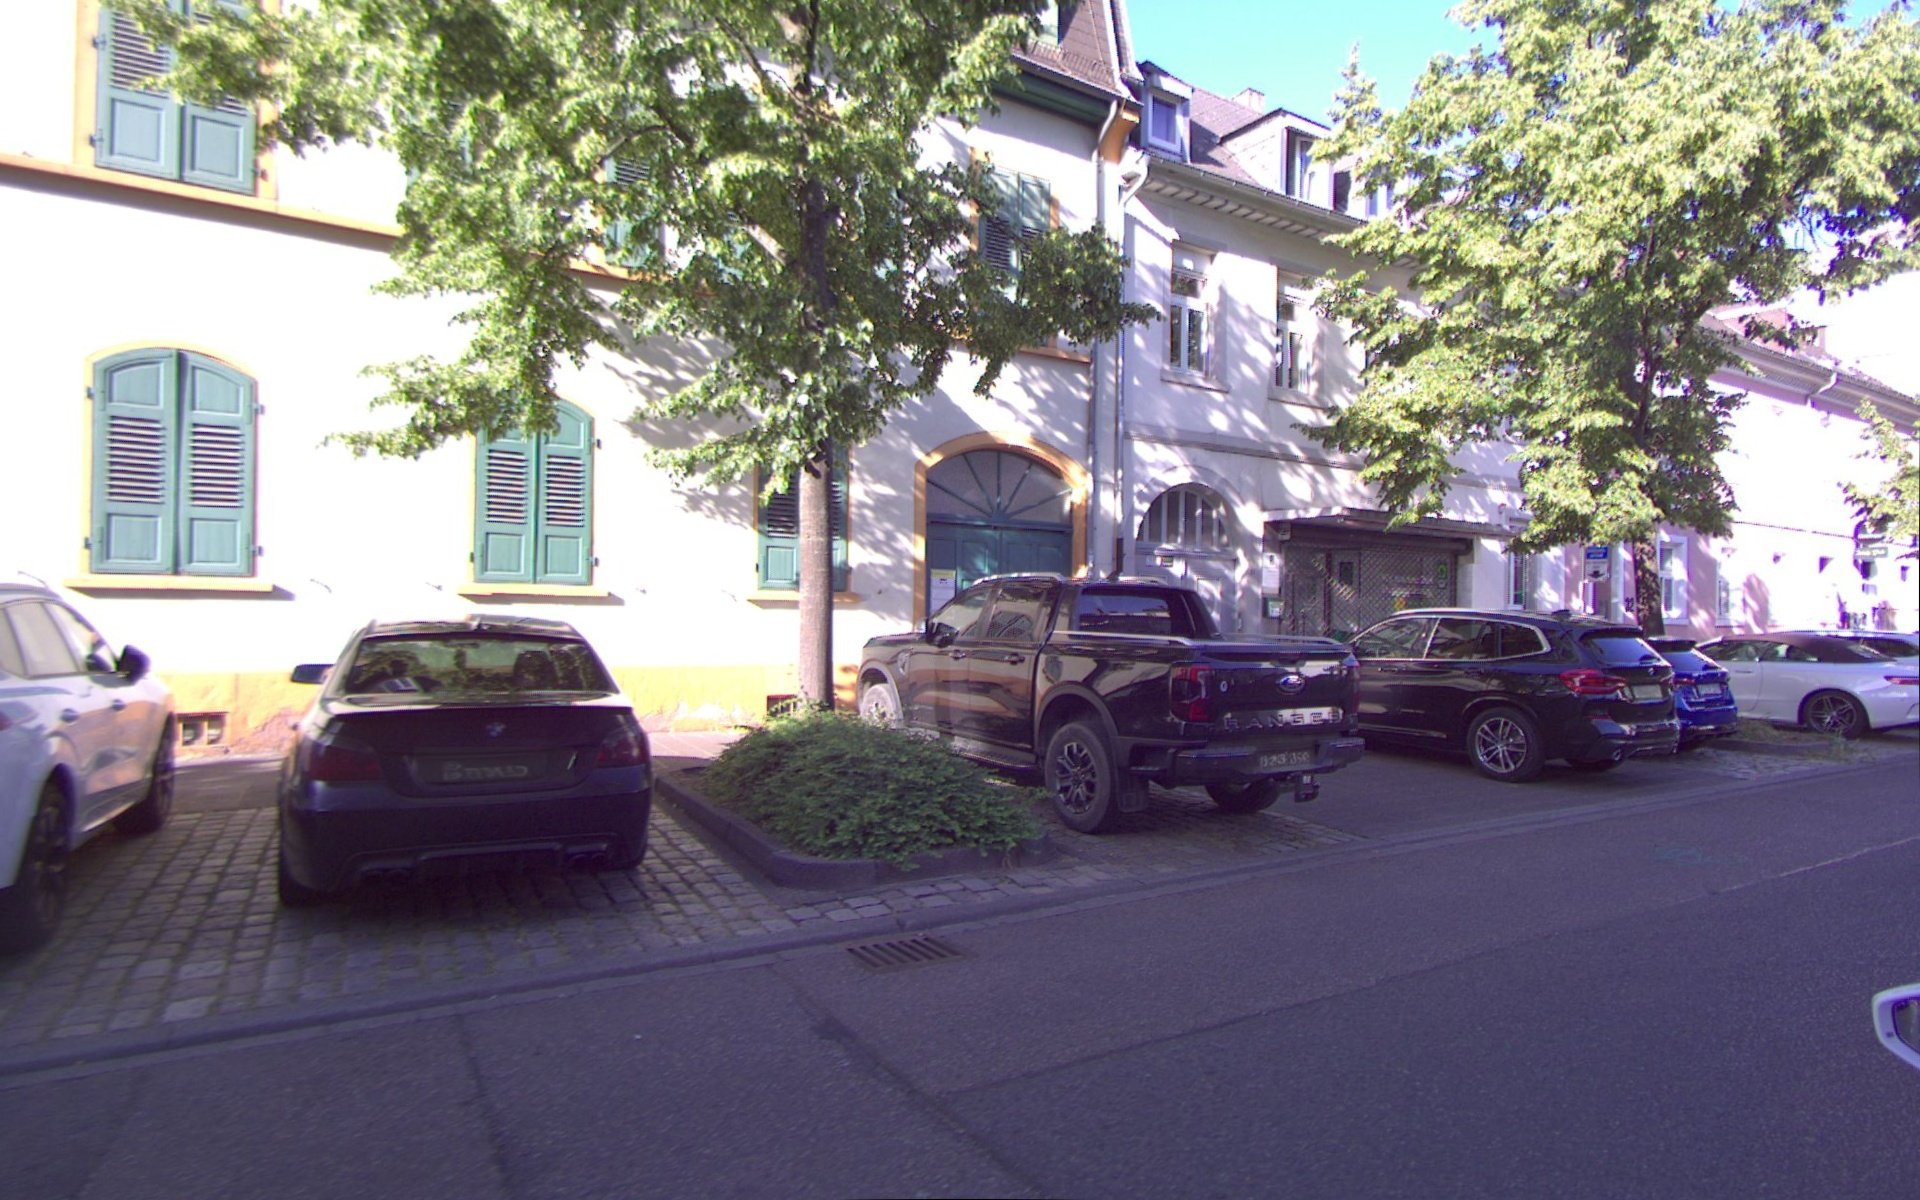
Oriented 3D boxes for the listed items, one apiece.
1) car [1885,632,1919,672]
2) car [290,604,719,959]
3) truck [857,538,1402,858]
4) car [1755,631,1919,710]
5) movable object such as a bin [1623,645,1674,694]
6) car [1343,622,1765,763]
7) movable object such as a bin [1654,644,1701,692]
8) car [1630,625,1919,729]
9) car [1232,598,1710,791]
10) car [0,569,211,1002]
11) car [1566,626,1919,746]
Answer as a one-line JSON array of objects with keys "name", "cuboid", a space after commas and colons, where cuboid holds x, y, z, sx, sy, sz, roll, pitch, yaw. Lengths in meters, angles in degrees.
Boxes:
[{"name": "car", "cuboid": [41.309, 2.179, 41.811, 3.939, 1.632, 1.991, -1, -2, 39]}, {"name": "car", "cuboid": [-3.114, 0.794, 6.711, 1.786, 1.482, 4.661, 2, -1, -28]}, {"name": "truck", "cuboid": [1.044, 0.675, 8.861, 1.977, 1.964, 5.060, 1, -2, -30]}, {"name": "car", "cuboid": [18.850, 1.389, 19.820, 1.789, 1.431, 4.653, 2, -1, -33]}, {"name": "movable object such as a bin", "cuboid": [15.410, 1.540, 22.501, 0.723, 1.074, 0.692, 1, -2, -29]}, {"name": "car", "cuboid": [7.684, 1.084, 13.567, 1.786, 1.482, 4.661, 2, -1, -28]}, {"name": "movable object such as a bin", "cuboid": [16.549, 1.555, 23.176, 0.567, 1.074, 0.692, 1, -2, -29]}, {"name": "car", "cuboid": [14.314, 1.218, 16.995, 1.789, 1.484, 4.653, 2, -1, -33]}, {"name": "car", "cuboid": [5.424, 0.869, 11.417, 1.786, 1.716, 4.661, 2, -1, -28]}, {"name": "car", "cuboid": [-5.404, 0.667, 5.282, 1.787, 1.593, 4.658, 2, -1, -30]}, {"name": "car", "cuboid": [12.248, 1.200, 15.504, 1.789, 1.484, 4.653, 2, -1, -33]}]
